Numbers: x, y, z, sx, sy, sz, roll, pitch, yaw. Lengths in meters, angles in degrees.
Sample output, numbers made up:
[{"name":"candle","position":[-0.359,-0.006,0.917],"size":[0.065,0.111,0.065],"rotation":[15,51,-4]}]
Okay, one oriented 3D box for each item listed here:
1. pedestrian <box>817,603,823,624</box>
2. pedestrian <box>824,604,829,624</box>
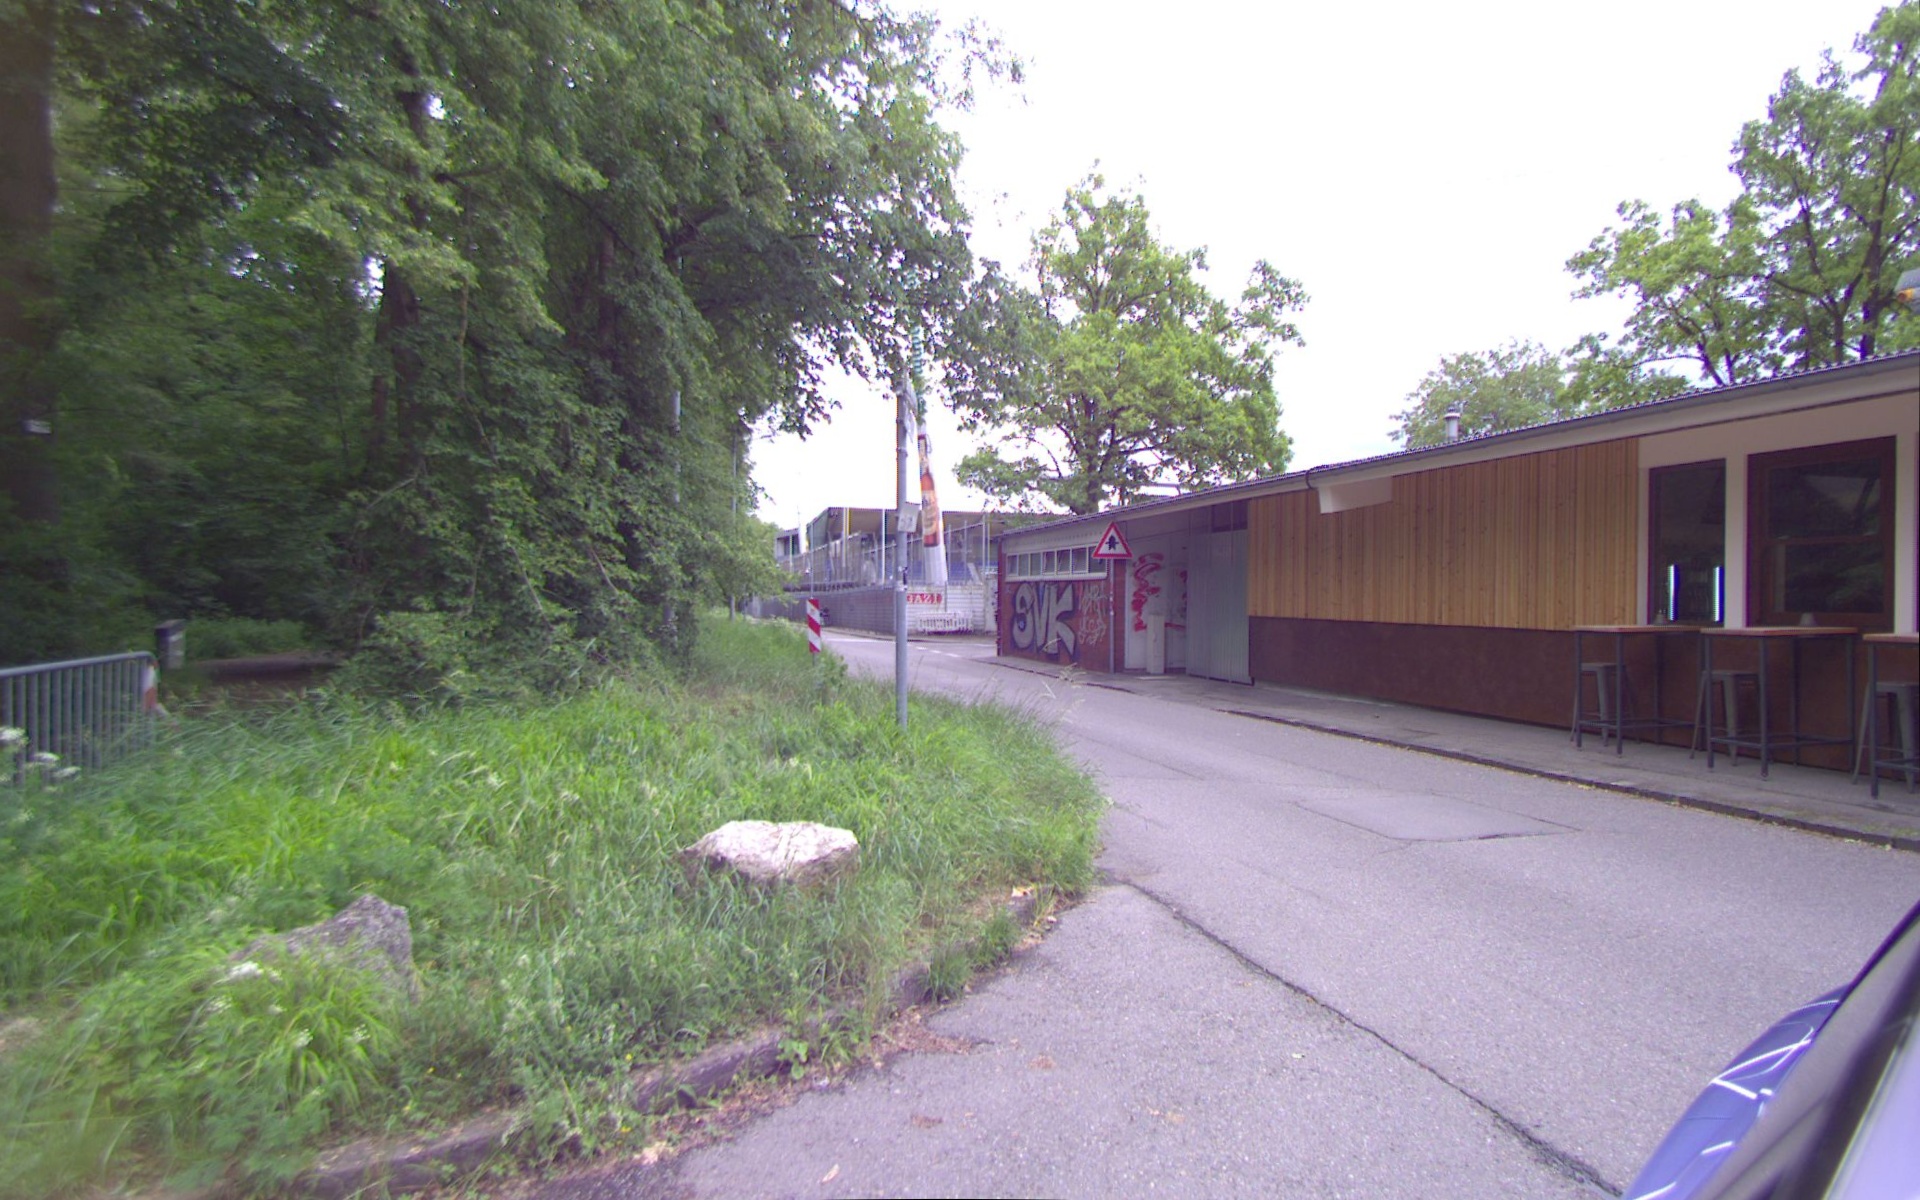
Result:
[{"name":"pedestrian","position":[-9.758,0.940,70.627],"size":[0.365,1.404,0.377],"rotation":[0,-1,-11]},{"name":"pedestrian","position":[-9.337,0.950,70.710],"size":[0.368,1.404,0.406],"rotation":[0,-1,-11]}]
